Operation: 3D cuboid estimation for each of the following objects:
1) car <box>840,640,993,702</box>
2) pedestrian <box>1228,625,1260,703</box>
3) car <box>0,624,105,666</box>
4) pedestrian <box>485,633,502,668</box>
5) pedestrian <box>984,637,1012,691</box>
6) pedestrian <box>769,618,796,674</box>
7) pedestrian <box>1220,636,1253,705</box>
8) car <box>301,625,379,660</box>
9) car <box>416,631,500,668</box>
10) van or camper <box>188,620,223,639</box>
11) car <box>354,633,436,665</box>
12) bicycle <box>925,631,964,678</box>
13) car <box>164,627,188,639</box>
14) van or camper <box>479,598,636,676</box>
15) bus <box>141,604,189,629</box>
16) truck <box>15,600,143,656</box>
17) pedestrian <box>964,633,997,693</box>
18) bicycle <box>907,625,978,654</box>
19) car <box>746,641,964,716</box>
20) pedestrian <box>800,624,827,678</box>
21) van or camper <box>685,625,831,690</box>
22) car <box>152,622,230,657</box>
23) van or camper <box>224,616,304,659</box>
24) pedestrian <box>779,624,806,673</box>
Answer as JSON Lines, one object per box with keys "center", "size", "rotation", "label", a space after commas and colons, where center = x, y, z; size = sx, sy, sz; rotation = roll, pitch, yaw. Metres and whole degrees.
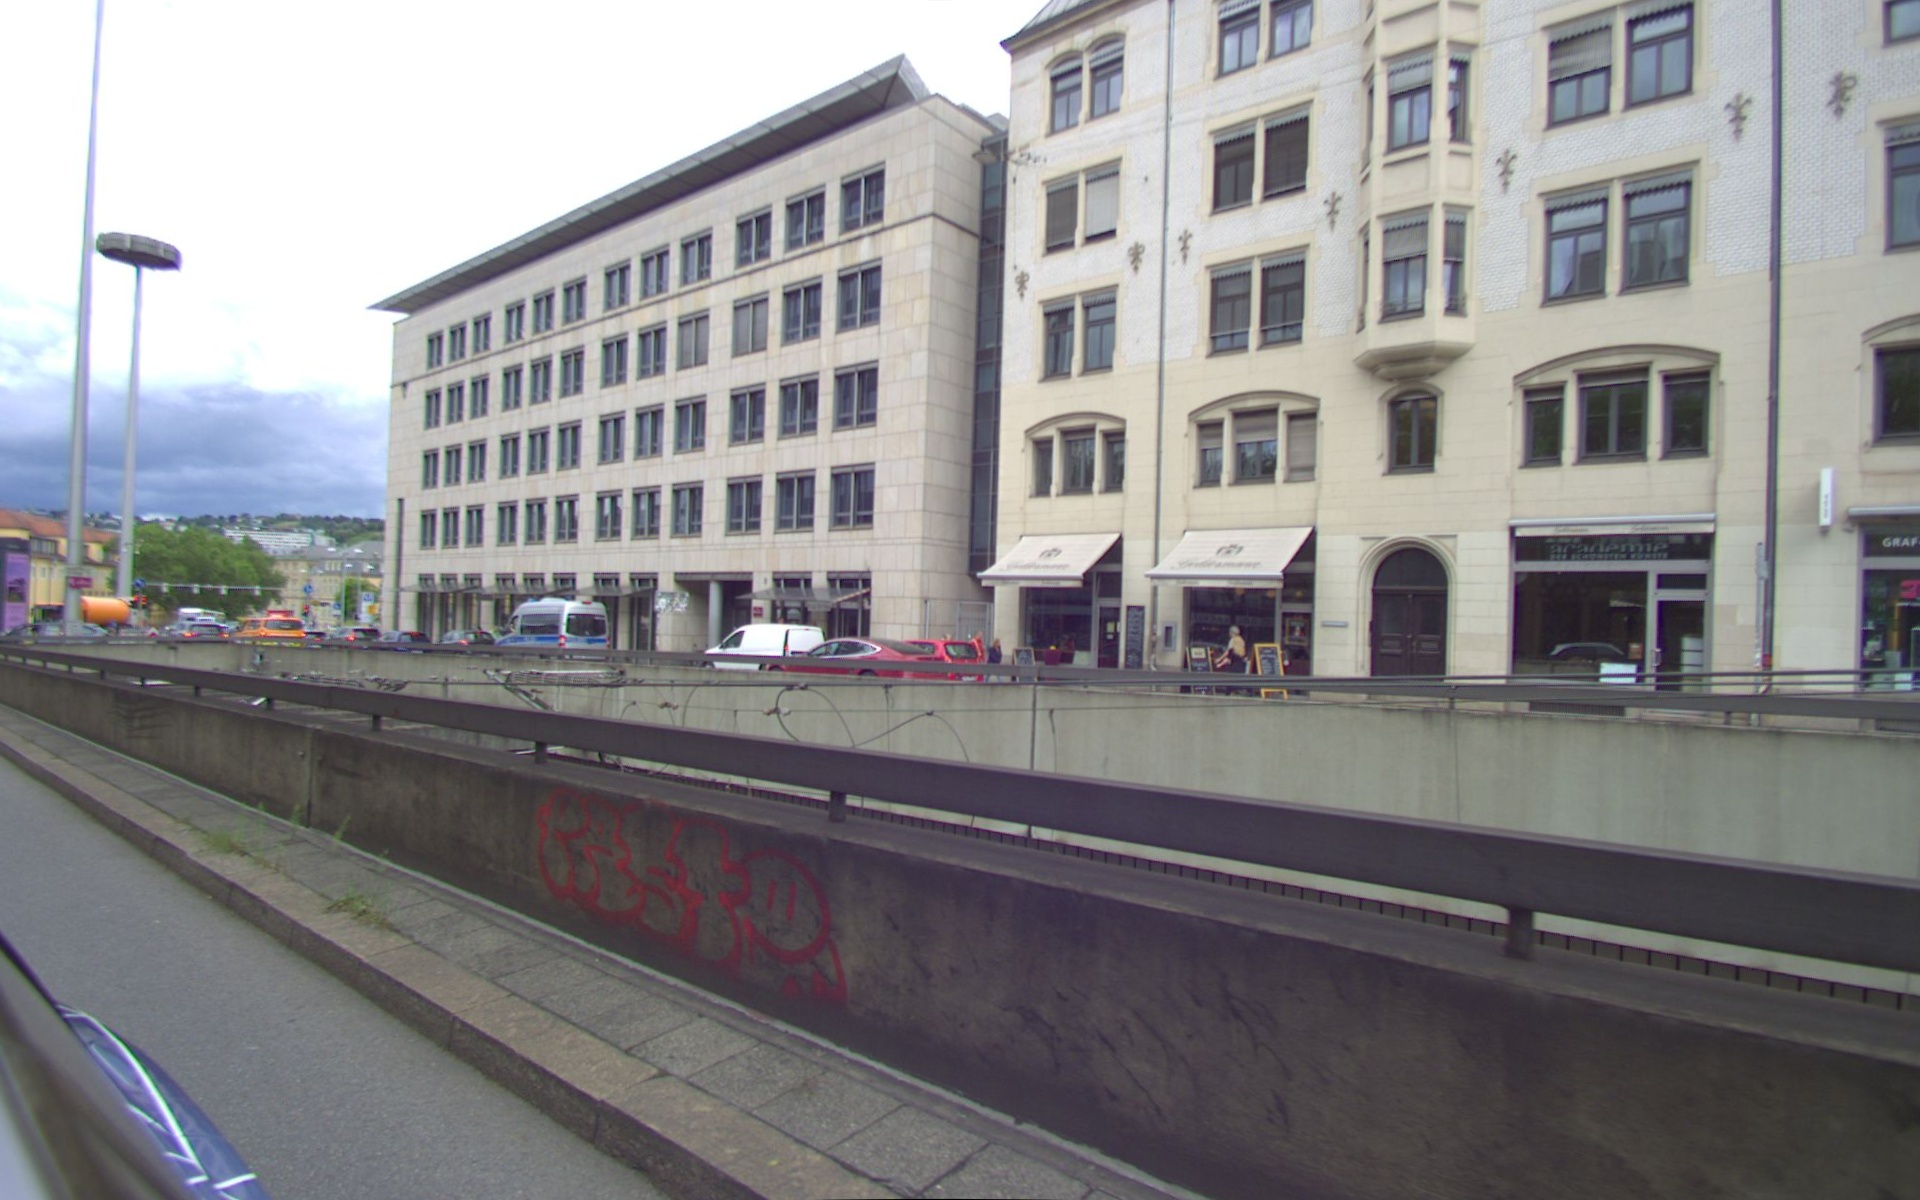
{"center": [-1.130, 1.729, 25.501], "size": [3.579, 1.416, 1.769], "rotation": [-1, -3, 39], "label": "car"}
{"center": [6.570, 1.474, 23.412], "size": [0.583, 1.770, 0.474], "rotation": [-2, -4, 40], "label": "pedestrian"}
{"center": [-34.011, 1.626, 36.718], "size": [4.494, 1.469, 1.884], "rotation": [2, -3, -41], "label": "car"}
{"center": [-22.257, 2.387, 48.267], "size": [0.627, 1.636, 0.494], "rotation": [-1, -3, 40], "label": "pedestrian"}
{"center": [1.056, 1.766, 28.203], "size": [0.541, 1.486, 0.543], "rotation": [-1, -3, 41], "label": "pedestrian"}
{"center": [-6.134, 1.590, 34.923], "size": [0.679, 1.889, 0.610], "rotation": [-2, -3, 40], "label": "pedestrian"}
{"center": [6.282, 1.593, 23.010], "size": [0.583, 1.549, 0.475], "rotation": [-1, -3, 39], "label": "pedestrian"}
{"center": [-31.459, 2.156, 51.283], "size": [4.680, 1.658, 1.973], "rotation": [-1, -4, 41], "label": "car"}
{"center": [-21.672, 2.110, 43.617], "size": [4.028, 1.460, 1.750], "rotation": [-1, -4, 41], "label": "car"}
{"center": [-97.805, 3.846, 131.313], "size": [2.334, 2.280, 6.308], "rotation": [3, -3, -25], "label": "van or camper"}
{"center": [-26.617, 2.272, 47.628], "size": [4.571, 1.406, 1.972], "rotation": [-1, -3, 42], "label": "car"}
{"center": [-0.423, 1.471, 27.555], "size": [0.843, 1.270, 0.626], "rotation": [-1, -3, 37], "label": "bicycle"}
{"center": [-99.872, 4.194, 128.943], "size": [1.797, 1.419, 4.012], "rotation": [3, -3, -28], "label": "car"}
{"center": [-15.433, 1.411, 38.621], "size": [6.242, 2.747, 2.971], "rotation": [-1, -3, 41], "label": "van or camper"}
{"center": [-110.077, 2.283, 140.307], "size": [3.377, 3.228, 13.102], "rotation": [-1, 0, -30], "label": "bus"}
{"center": [-67.468, 2.034, 77.834], "size": [2.686, 3.643, 9.194], "rotation": [3, 1, -7], "label": "truck"}
{"center": [0.560, 1.704, 27.633], "size": [0.712, 1.593, 0.576], "rotation": [-1, -3, 41], "label": "pedestrian"}
{"center": [-0.490, 1.076, 27.627], "size": [1.955, 0.768, 0.626], "rotation": [-1, -3, 38], "label": "bicycle"}
{"center": [-2.424, 1.684, 22.727], "size": [4.879, 1.476, 1.974], "rotation": [-1, -3, 38], "label": "car"}
{"center": [-4.901, 1.699, 33.920], "size": [0.679, 1.767, 0.546], "rotation": [-2, -3, 39], "label": "pedestrian"}
{"center": [-6.023, 1.641, 29.926], "size": [4.483, 1.765, 1.849], "rotation": [-1, -2, 40], "label": "van or camper"}
{"center": [-35.542, 1.811, 46.733], "size": [4.538, 1.538, 1.899], "rotation": [-1, -3, 40], "label": "car"}
{"center": [-34.060, 1.816, 49.473], "size": [5.080, 1.936, 1.893], "rotation": [-1, -4, 41], "label": "van or camper"}
{"center": [-5.489, 1.580, 33.153], "size": [0.679, 1.589, 0.546], "rotation": [-1, -3, 39], "label": "pedestrian"}
